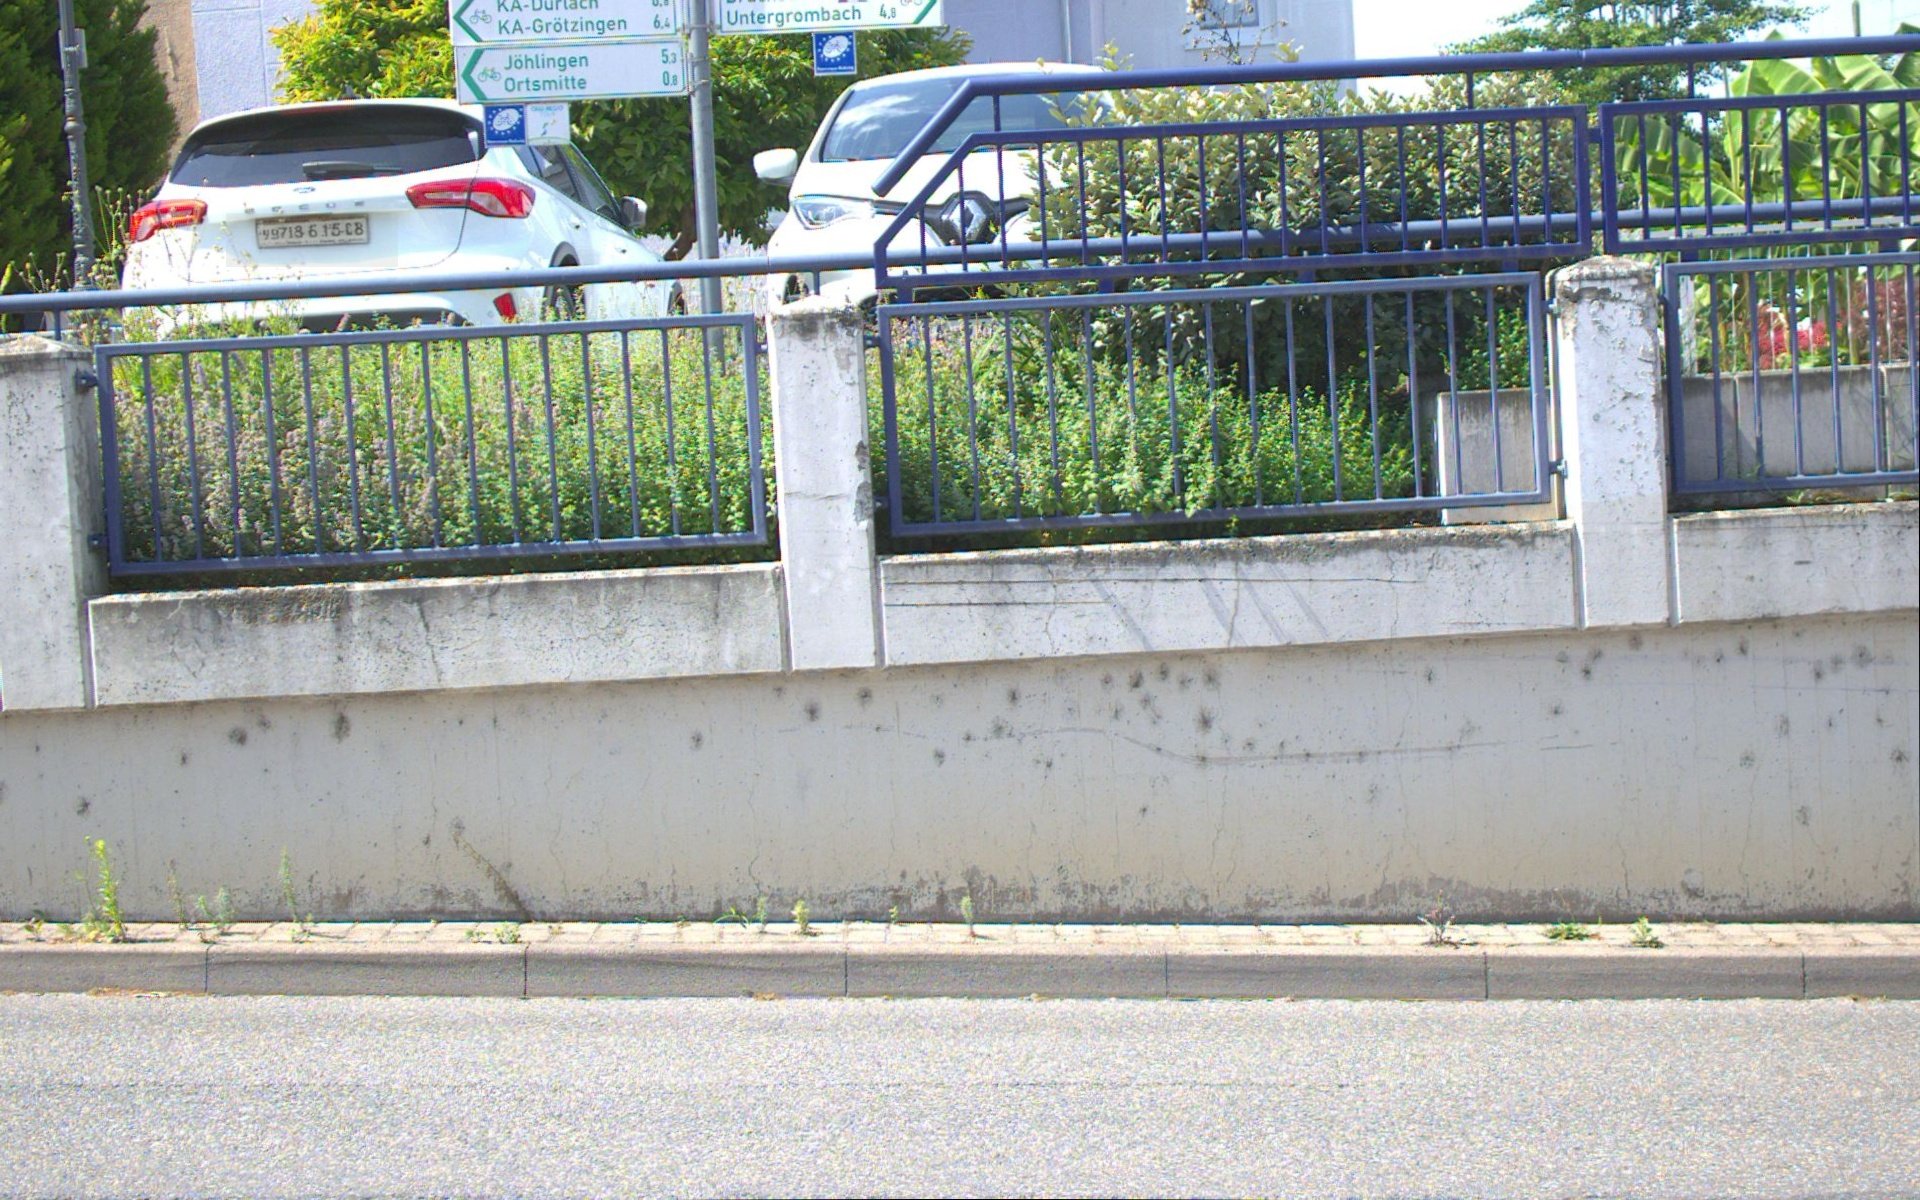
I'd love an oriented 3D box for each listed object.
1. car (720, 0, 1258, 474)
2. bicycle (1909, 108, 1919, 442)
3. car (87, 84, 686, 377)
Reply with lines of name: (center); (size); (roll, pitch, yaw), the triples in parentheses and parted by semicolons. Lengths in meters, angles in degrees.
car: (0.259, -1.465, 14.966); (1.994, 1.791, 4.196); (1, 2, 4)
bicycle: (4.300, -1.131, 11.551); (2.114, 1.122, 0.333); (-2, 4, -2)
car: (-2.386, -1.557, 15.154); (1.825, 1.016, 3.459); (1, 2, 4)
